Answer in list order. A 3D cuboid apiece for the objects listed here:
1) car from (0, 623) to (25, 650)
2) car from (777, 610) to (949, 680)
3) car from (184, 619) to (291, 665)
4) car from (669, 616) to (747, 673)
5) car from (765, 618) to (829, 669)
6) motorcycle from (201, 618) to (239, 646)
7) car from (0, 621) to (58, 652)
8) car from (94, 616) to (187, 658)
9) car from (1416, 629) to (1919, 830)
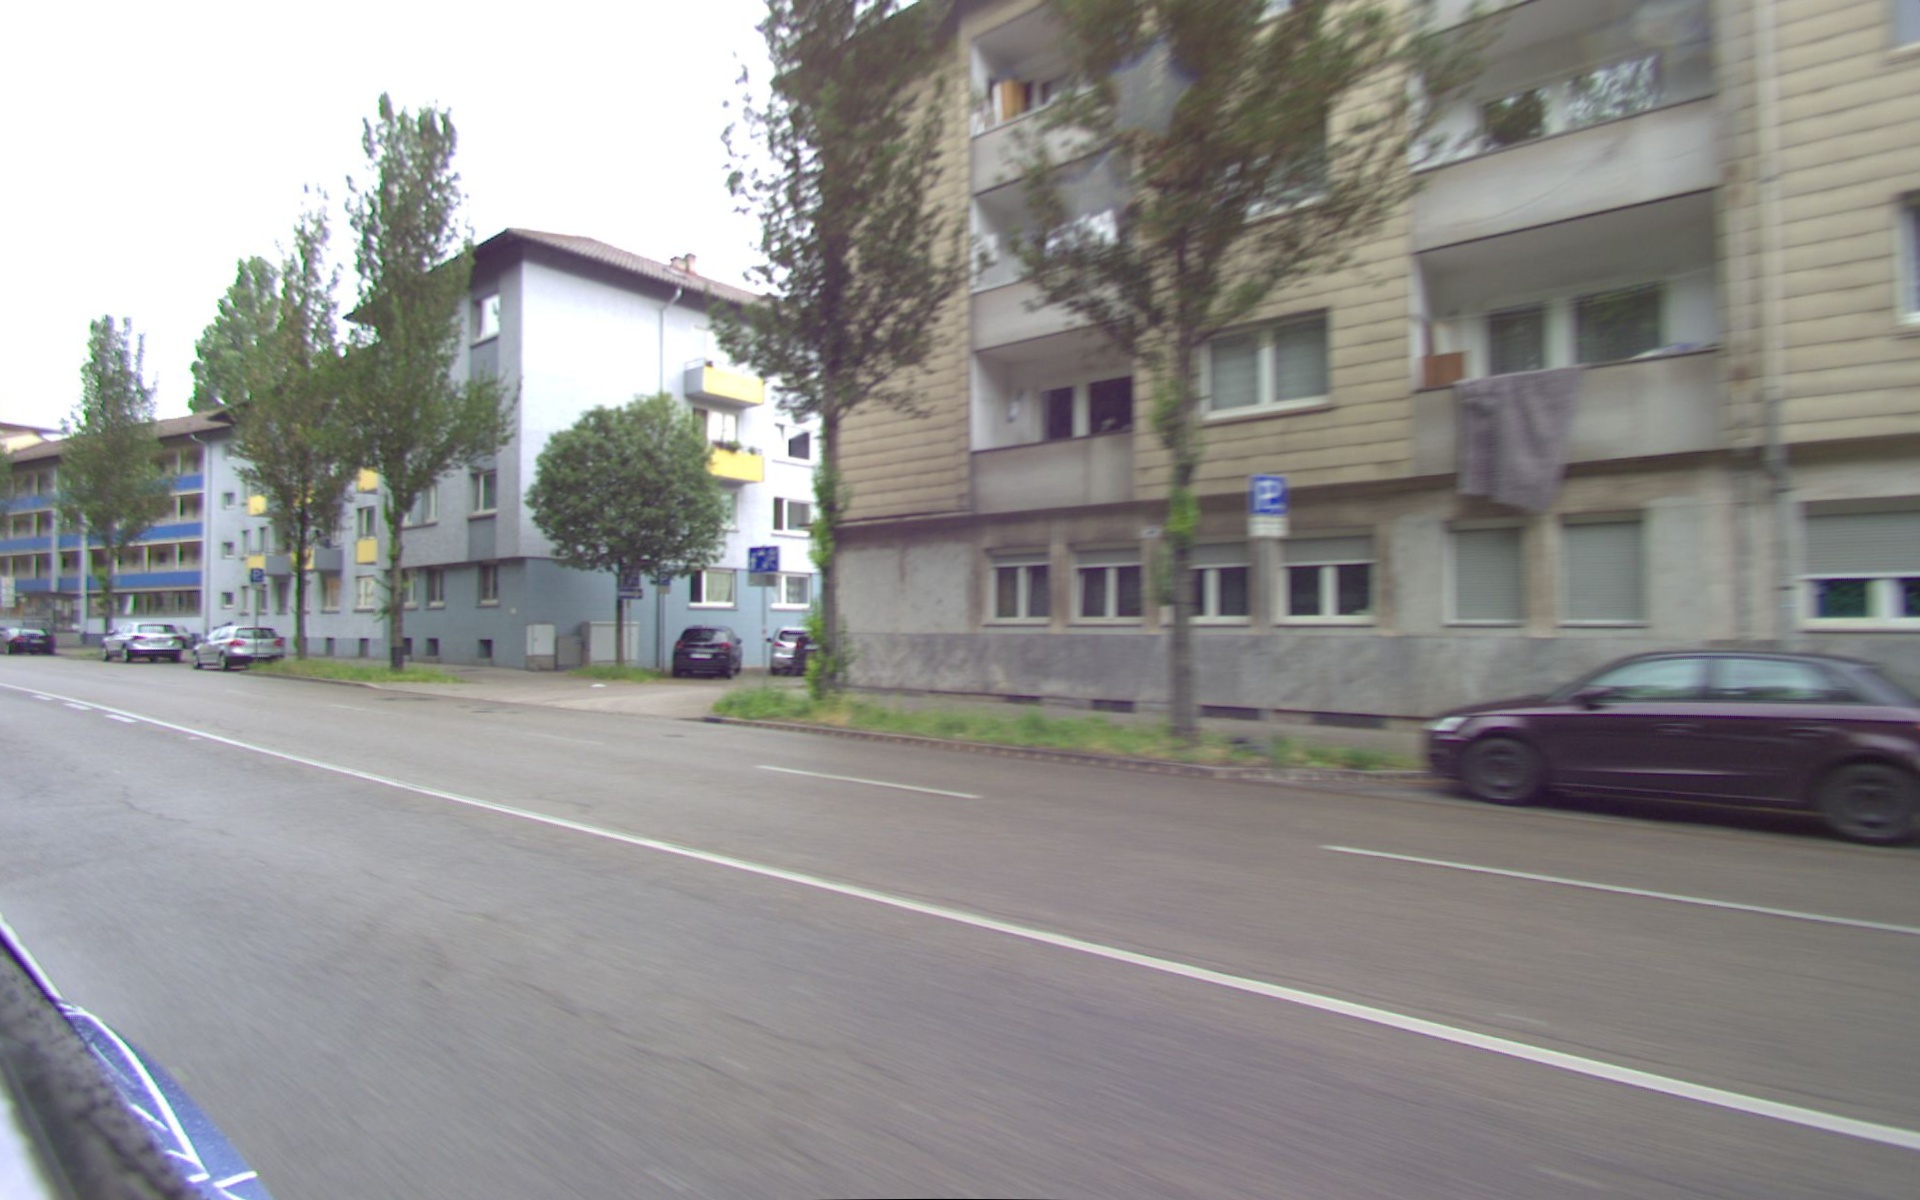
[{"bbox_3d":[-52.538,1.949,54.895,4.077,1.414,1.765,-1,-4,34],"label":"car"},{"bbox_3d":[-2.317,1.088,25.083,1.925,1.591,4.107,-2,-3,40],"label":"car"},{"bbox_3d":[-24.413,1.392,34.174,4.197,1.464,1.708,-1,-2,36],"label":"car"},{"bbox_3d":[-7.284,1.269,29.581,1.687,1.505,4.006,2,-2,-7],"label":"car"},{"bbox_3d":[-5.295,1.366,32.472,1.764,1.505,4.010,1,-2,-12],"label":"car"},{"bbox_3d":[-38.592,1.669,52.787,2.225,1.424,0.671,-1,1,28],"label":"motorcycle"},{"bbox_3d":[-48.002,1.840,51.647,4.881,1.450,1.805,0,-3,35],"label":"car"},{"bbox_3d":[-33.192,1.473,40.952,4.524,1.616,1.748,-1,-3,36],"label":"car"},{"bbox_3d":[6.212,0.956,8.594,3.986,1.397,1.609,-1,-3,41],"label":"car"}]
